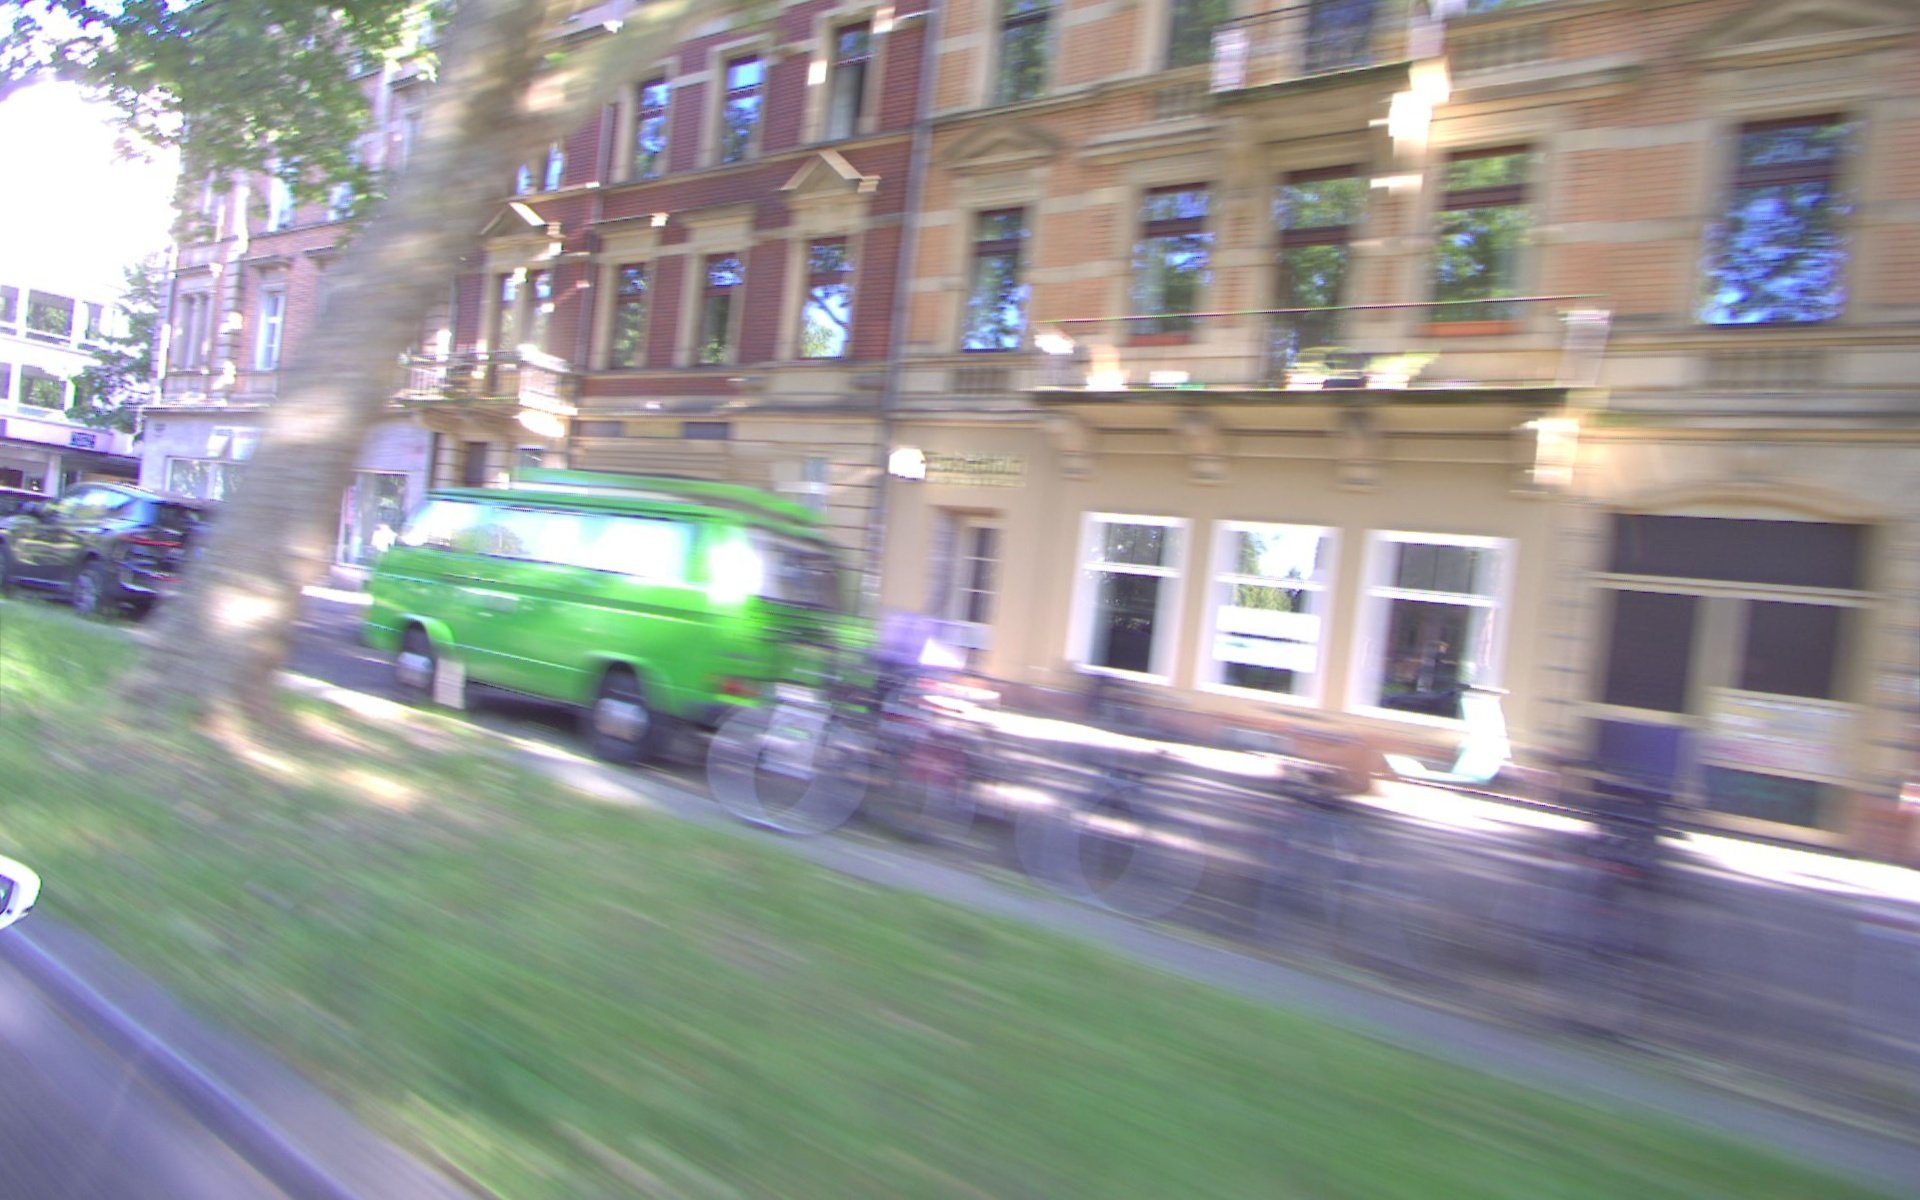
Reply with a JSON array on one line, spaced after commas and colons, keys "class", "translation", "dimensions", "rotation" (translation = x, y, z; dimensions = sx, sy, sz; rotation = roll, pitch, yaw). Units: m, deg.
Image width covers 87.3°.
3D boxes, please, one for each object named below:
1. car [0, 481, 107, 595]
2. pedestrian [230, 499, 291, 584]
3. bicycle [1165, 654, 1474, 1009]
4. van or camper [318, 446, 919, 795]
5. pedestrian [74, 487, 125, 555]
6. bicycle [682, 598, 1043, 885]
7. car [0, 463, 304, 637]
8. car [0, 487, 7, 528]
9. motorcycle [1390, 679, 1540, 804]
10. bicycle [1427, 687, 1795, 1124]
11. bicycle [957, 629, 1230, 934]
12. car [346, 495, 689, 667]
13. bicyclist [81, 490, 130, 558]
[{"class": "car", "translation": [-15.359, -1.124, 15.636], "dimensions": [4.292, 1.480, 1.742], "rotation": [7, -3, 30]}, {"class": "pedestrian", "translation": [-15.996, -1.328, 23.015], "dimensions": [0.942, 1.810, 0.692], "rotation": [7, 0, 32]}, {"class": "bicycle", "translation": [1.964, 1.038, 5.206], "dimensions": [0.966, 1.309, 2.168], "rotation": [7, -1, 31]}, {"class": "van or camper", "translation": [-2.928, 0.056, 8.327], "dimensions": [4.693, 2.121, 1.839], "rotation": [7, -3, 30]}, {"class": "pedestrian", "translation": [-24.356, -2.222, 28.473], "dimensions": [1.062, 1.777, 0.692], "rotation": [7, 1, 32]}, {"class": "bicycle", "translation": [-0.435, 0.791, 6.278], "dimensions": [0.957, 1.309, 2.557], "rotation": [7, -1, 25]}, {"class": "car", "translation": [-10.938, -0.699, 13.120], "dimensions": [4.719, 1.665, 1.896], "rotation": [7, -3, 30]}, {"class": "car", "translation": [-19.253, -1.546, 18.180], "dimensions": [4.114, 1.513, 1.758], "rotation": [7, -3, 31]}, {"class": "motorcycle", "translation": [5.477, 1.516, 10.969], "dimensions": [1.269, 1.138, 0.505], "rotation": [7, 1, 16]}, {"class": "bicycle", "translation": [2.843, 1.129, 4.481], "dimensions": [0.967, 1.309, 2.167], "rotation": [7, -1, 33]}, {"class": "bicycle", "translation": [0.893, 0.929, 5.871], "dimensions": [0.965, 1.309, 2.172], "rotation": [7, -1, 21]}, {"class": "car", "translation": [-5.653, -0.271, 12.744], "dimensions": [4.114, 1.596, 1.758], "rotation": [7, -3, 31]}, {"class": "bicyclist", "translation": [-21.888, -1.937, 25.758], "dimensions": [0.687, 1.634, 0.659], "rotation": [7, 0, 32]}]
